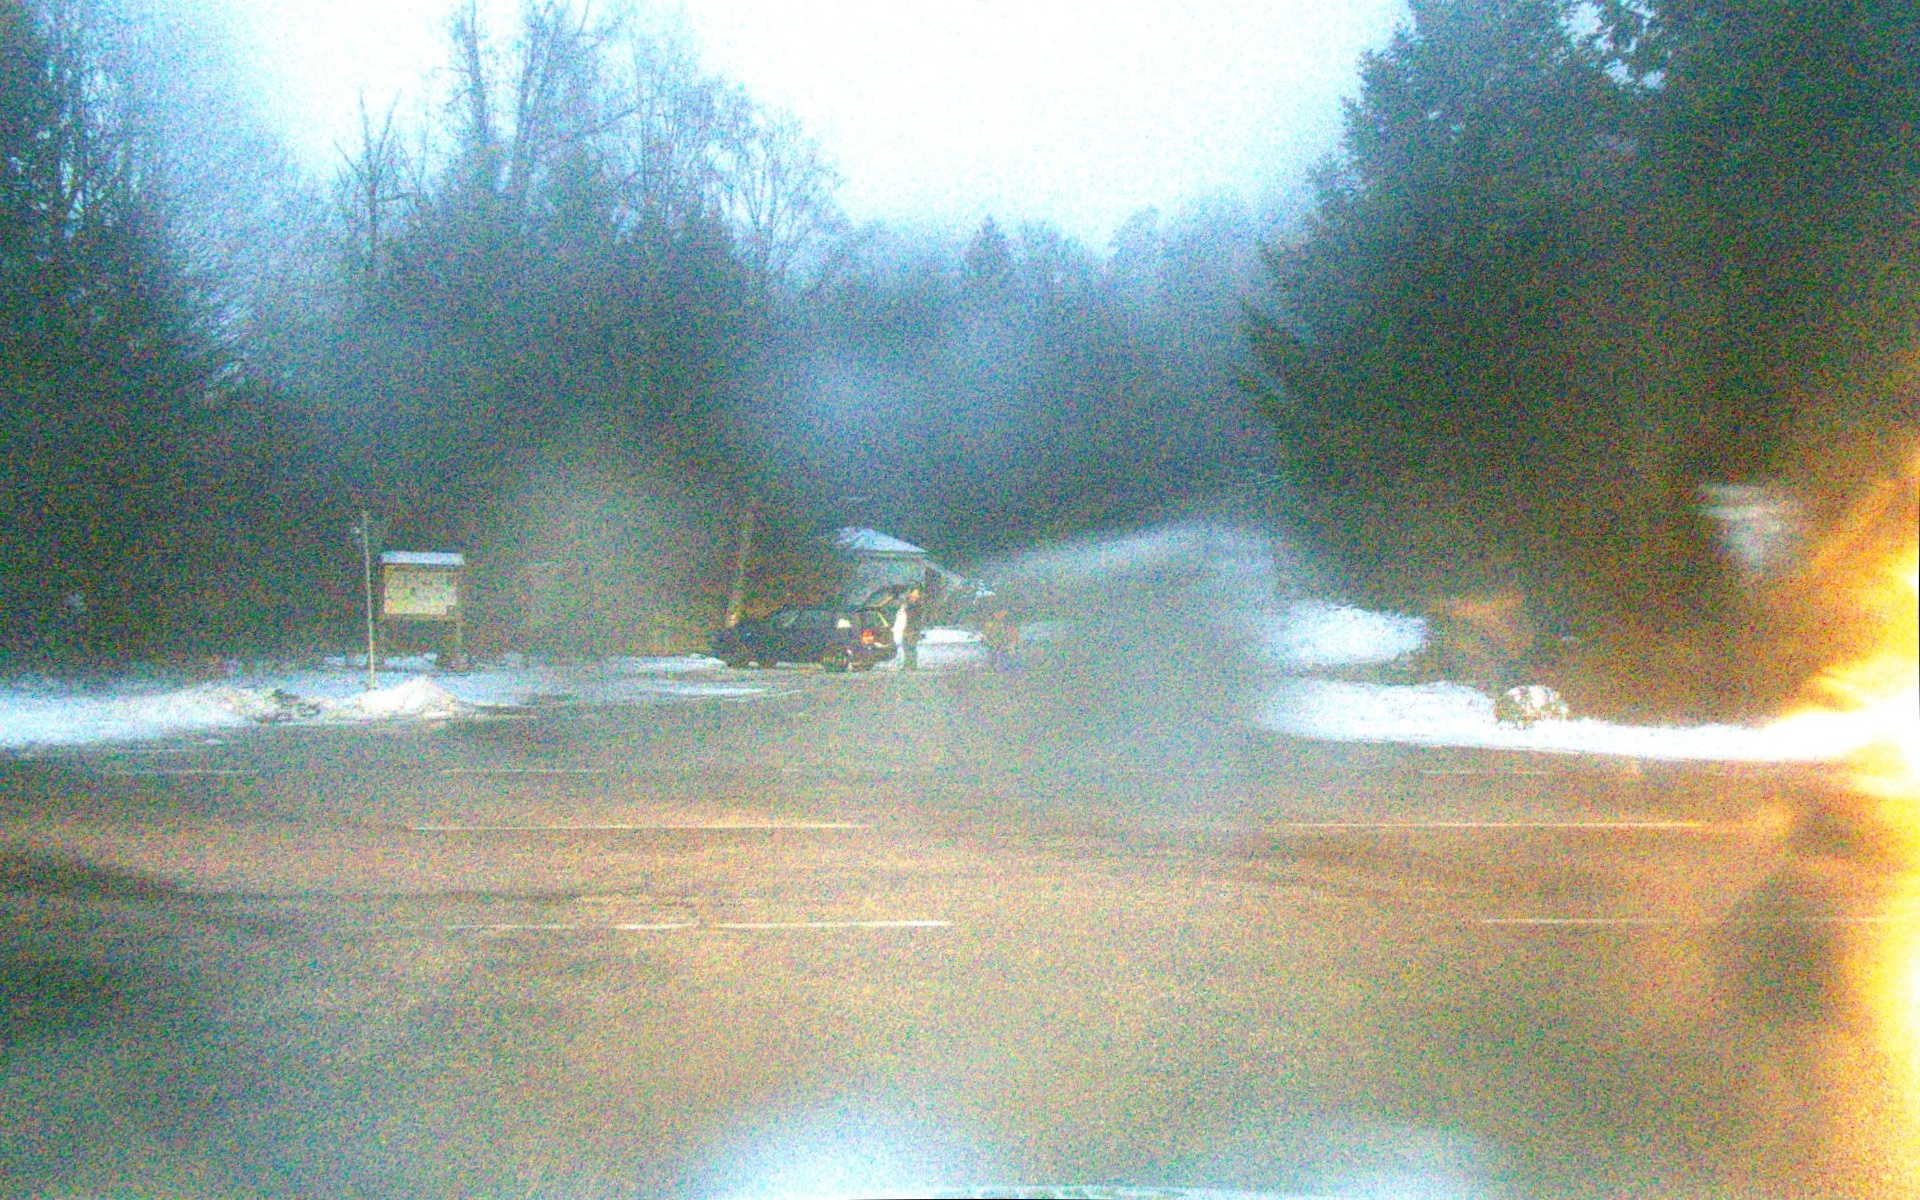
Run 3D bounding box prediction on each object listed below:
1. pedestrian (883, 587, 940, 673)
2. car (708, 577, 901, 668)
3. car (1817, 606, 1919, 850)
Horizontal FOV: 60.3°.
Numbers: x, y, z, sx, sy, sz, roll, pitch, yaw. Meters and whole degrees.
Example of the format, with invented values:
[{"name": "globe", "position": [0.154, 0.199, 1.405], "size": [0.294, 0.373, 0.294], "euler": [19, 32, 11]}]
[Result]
[{"name": "pedestrian", "position": [-1.062, 0.668, 36.470], "size": [0.941, 1.860, 0.925], "euler": [1, -2, 20]}, {"name": "car", "position": [-3.507, 0.511, 37.598], "size": [3.863, 1.914, 2.001], "euler": [1, -1, 16]}, {"name": "car", "position": [7.470, 0.800, 10.435], "size": [3.334, 1.478, 1.576], "euler": [1, 0, -3]}]
